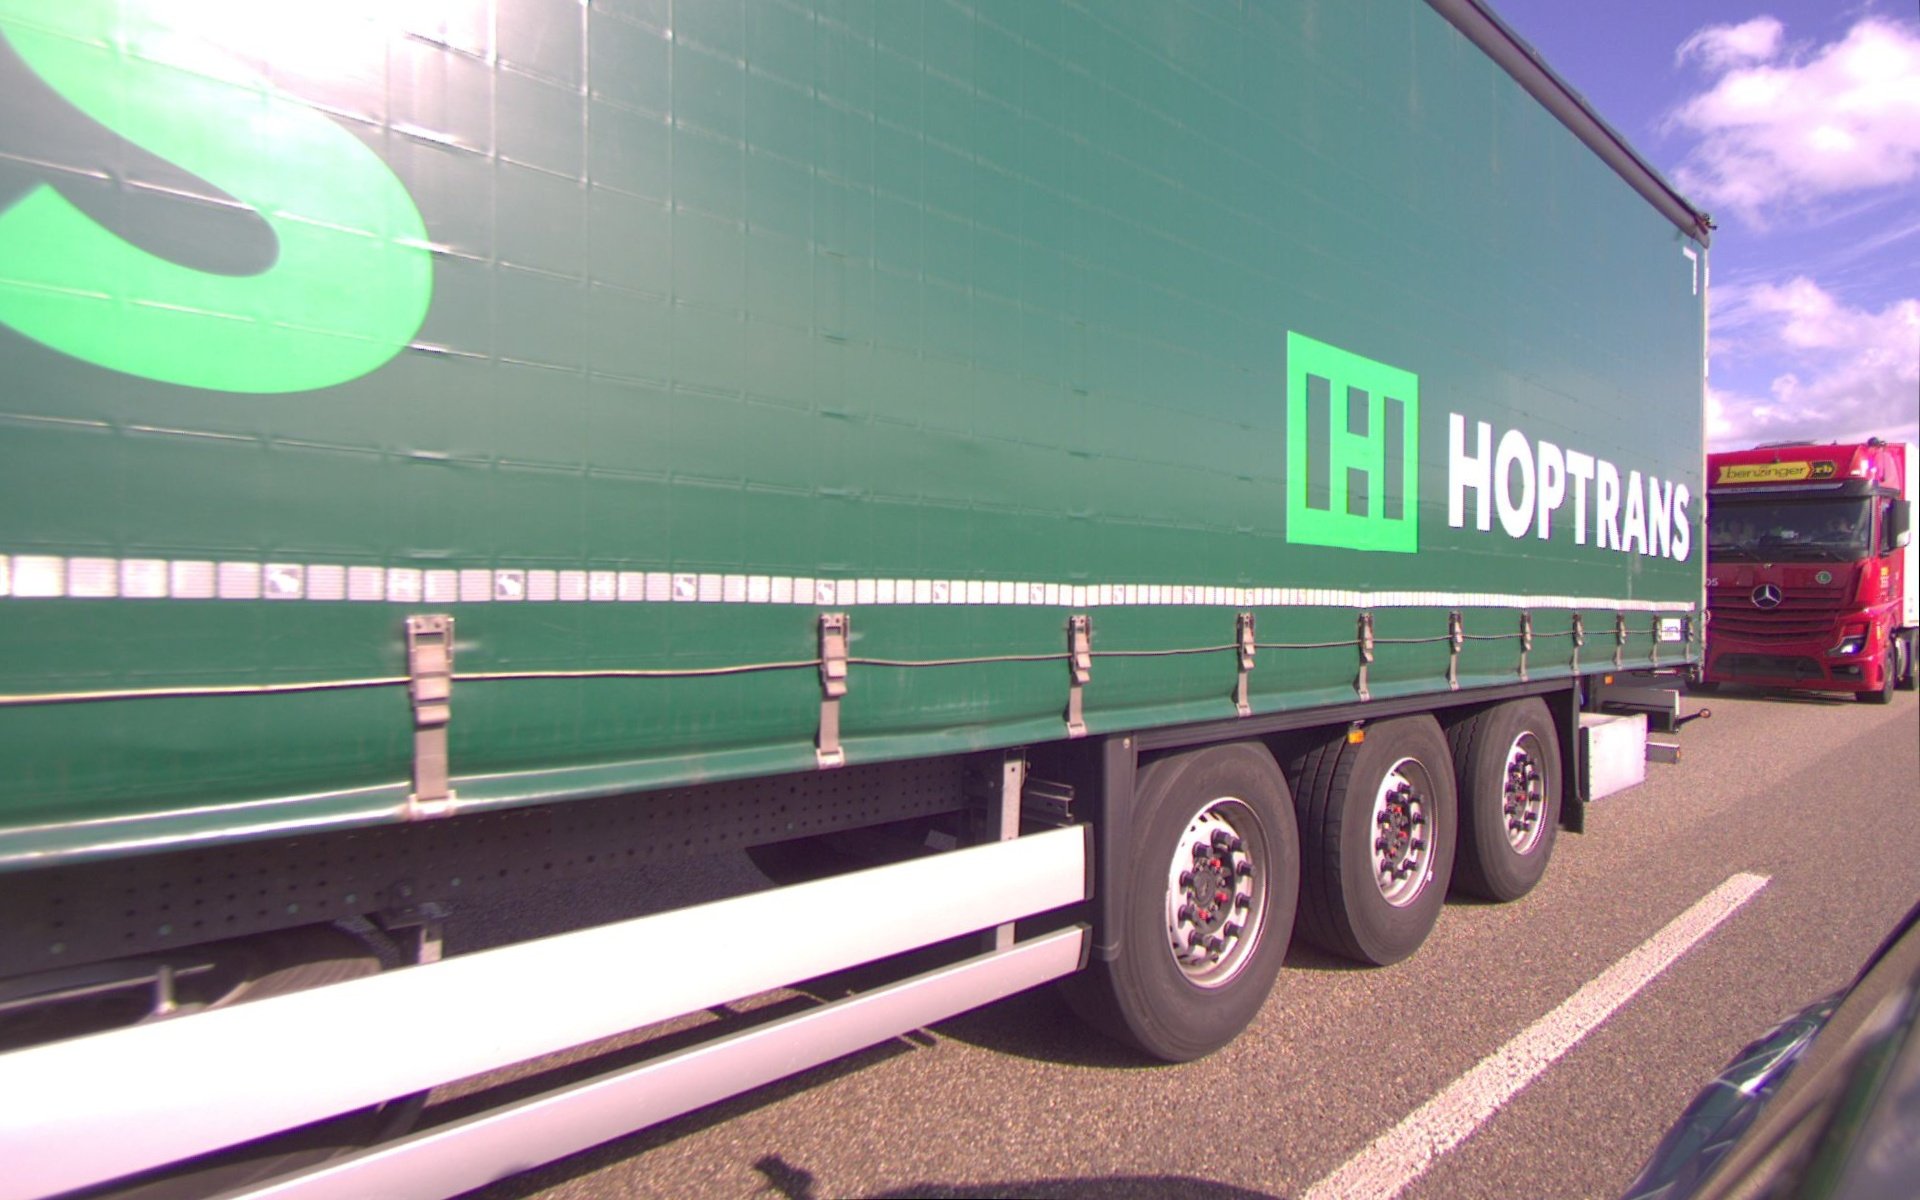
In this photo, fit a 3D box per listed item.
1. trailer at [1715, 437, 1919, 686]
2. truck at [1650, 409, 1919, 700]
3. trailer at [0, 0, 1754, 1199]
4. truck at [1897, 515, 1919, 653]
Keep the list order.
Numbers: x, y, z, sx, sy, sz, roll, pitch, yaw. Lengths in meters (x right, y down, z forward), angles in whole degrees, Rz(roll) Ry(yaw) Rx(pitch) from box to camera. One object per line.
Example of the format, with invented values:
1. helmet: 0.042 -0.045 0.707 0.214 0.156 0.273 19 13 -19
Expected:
1. trailer: 19.466 -0.658 21.366 12.839 3.989 2.797 -1 0 -40
2. truck: 14.060 -0.636 16.780 5.722 3.989 2.807 0 0 -40
3. trailer: -0.469 -0.621 3.544 13.160 3.917 2.666 -1 1 -41
4. truck: 32.798 -0.553 32.428 10.023 4.090 2.745 0 -2 -41
